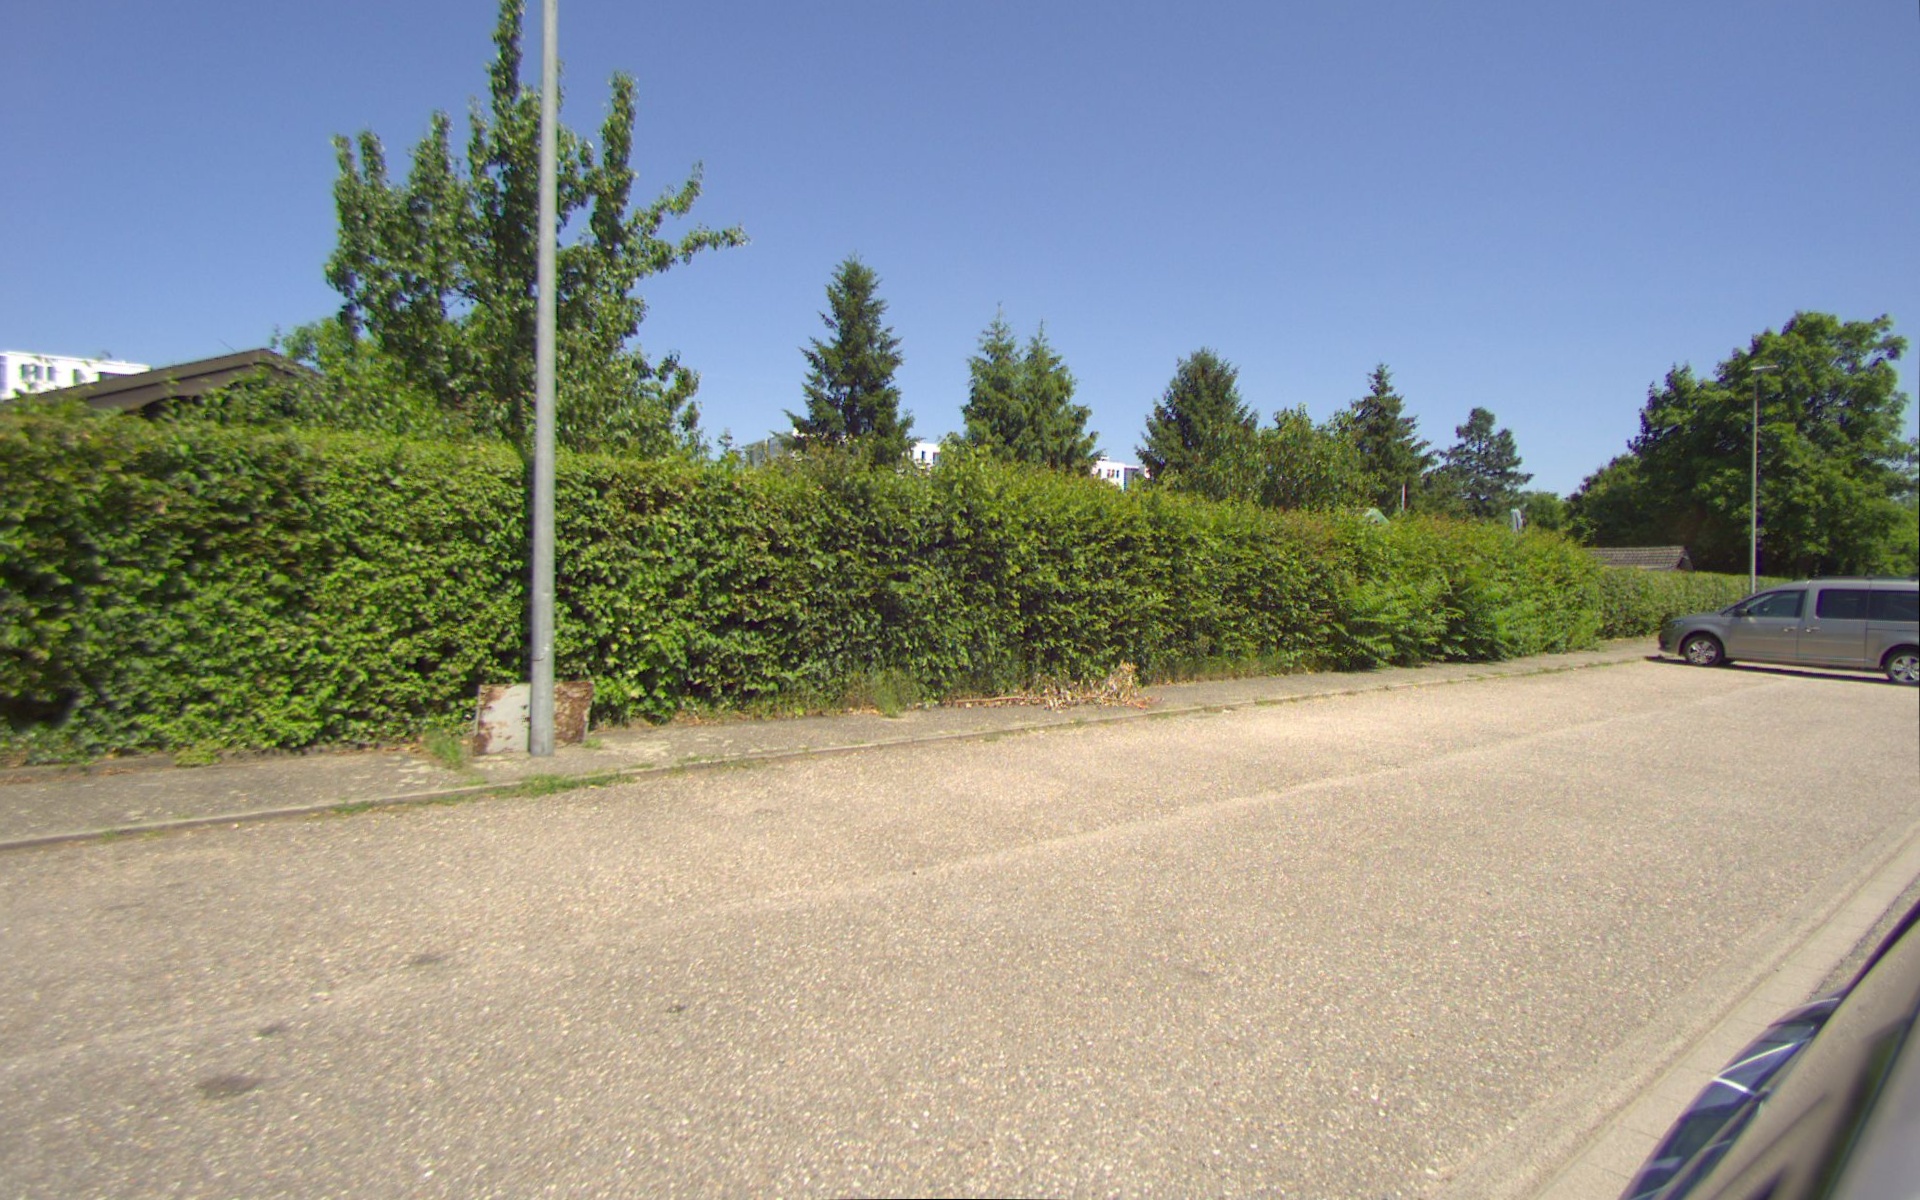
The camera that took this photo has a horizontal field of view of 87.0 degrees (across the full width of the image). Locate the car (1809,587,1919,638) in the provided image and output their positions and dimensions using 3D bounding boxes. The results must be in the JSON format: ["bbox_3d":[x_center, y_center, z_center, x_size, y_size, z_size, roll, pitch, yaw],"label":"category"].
[{"bbox_3d":[31.216,0.451,33.492,1.930,1.456,4.562,0,4,-45],"label":"car"}]

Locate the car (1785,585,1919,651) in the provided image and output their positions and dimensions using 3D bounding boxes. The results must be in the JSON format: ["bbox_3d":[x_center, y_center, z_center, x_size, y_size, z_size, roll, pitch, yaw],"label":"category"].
[{"bbox_3d":[24.578,0.488,26.785,1.813,1.496,3.928,1,4,-41],"label":"car"}]

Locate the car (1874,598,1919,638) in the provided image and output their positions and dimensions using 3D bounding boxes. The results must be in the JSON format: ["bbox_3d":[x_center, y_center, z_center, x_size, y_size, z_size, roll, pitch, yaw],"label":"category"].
[{"bbox_3d":[37.022,0.683,37.902,1.800,1.470,4.002,0,1,-42],"label":"car"}]

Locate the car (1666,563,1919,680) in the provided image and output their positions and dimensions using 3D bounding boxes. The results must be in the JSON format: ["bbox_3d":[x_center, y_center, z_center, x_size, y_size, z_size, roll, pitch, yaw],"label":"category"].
[{"bbox_3d":[16.335,0.353,18.991,1.960,1.871,4.632,1,3,-40],"label":"car"}]

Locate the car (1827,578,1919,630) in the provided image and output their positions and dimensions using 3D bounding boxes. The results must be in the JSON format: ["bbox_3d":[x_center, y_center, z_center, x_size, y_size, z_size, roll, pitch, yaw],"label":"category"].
[{"bbox_3d":[34.683,0.201,36.967,1.821,1.719,4.268,1,4,-41],"label":"car"}]

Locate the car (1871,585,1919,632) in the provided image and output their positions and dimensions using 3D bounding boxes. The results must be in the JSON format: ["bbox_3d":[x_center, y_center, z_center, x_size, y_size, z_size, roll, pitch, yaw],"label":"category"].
[{"bbox_3d":[39.045,0.460,39.847,1.881,1.724,4.479,1,4,-42],"label":"car"}]
